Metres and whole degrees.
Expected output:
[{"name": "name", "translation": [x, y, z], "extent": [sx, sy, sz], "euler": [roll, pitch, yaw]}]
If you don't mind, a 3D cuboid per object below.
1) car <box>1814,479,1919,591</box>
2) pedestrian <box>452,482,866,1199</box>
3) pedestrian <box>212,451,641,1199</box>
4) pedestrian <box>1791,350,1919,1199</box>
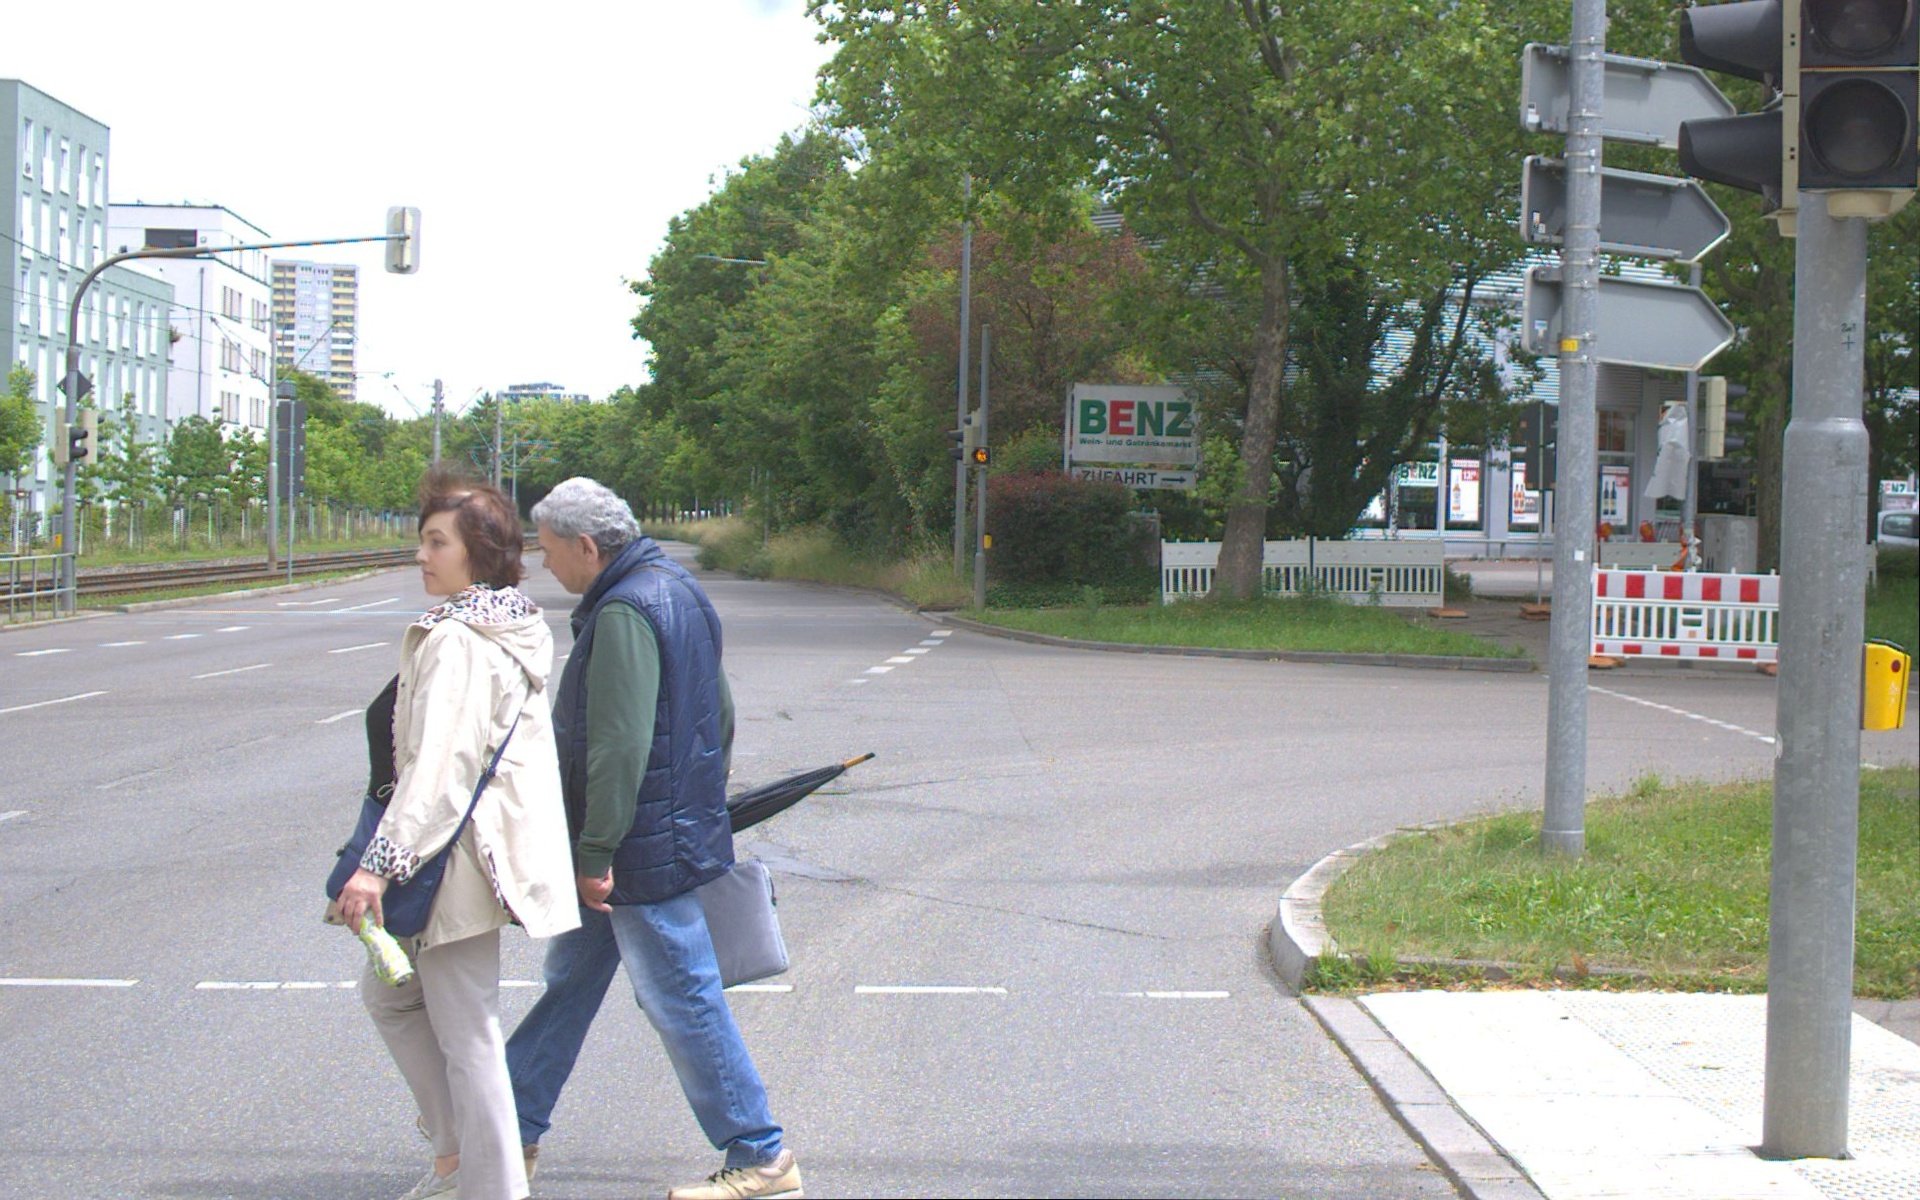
[{"name": "car", "translation": [17.742, -1.180, 62.567], "extent": [1.993, 2.007, 4.000], "euler": [0, 2, -32]}, {"name": "pedestrian", "translation": [-0.653, 0.558, 7.707], "extent": [0.868, 1.629, 0.765], "euler": [1, 1, -2]}, {"name": "pedestrian", "translation": [-1.092, 0.519, 7.113], "extent": [0.822, 1.634, 0.733], "euler": [1, 1, -7]}, {"name": "pedestrian", "translation": [2.073, 0.449, 6.310], "extent": [1.010, 1.768, 0.948], "euler": [1, 1, 16]}]
